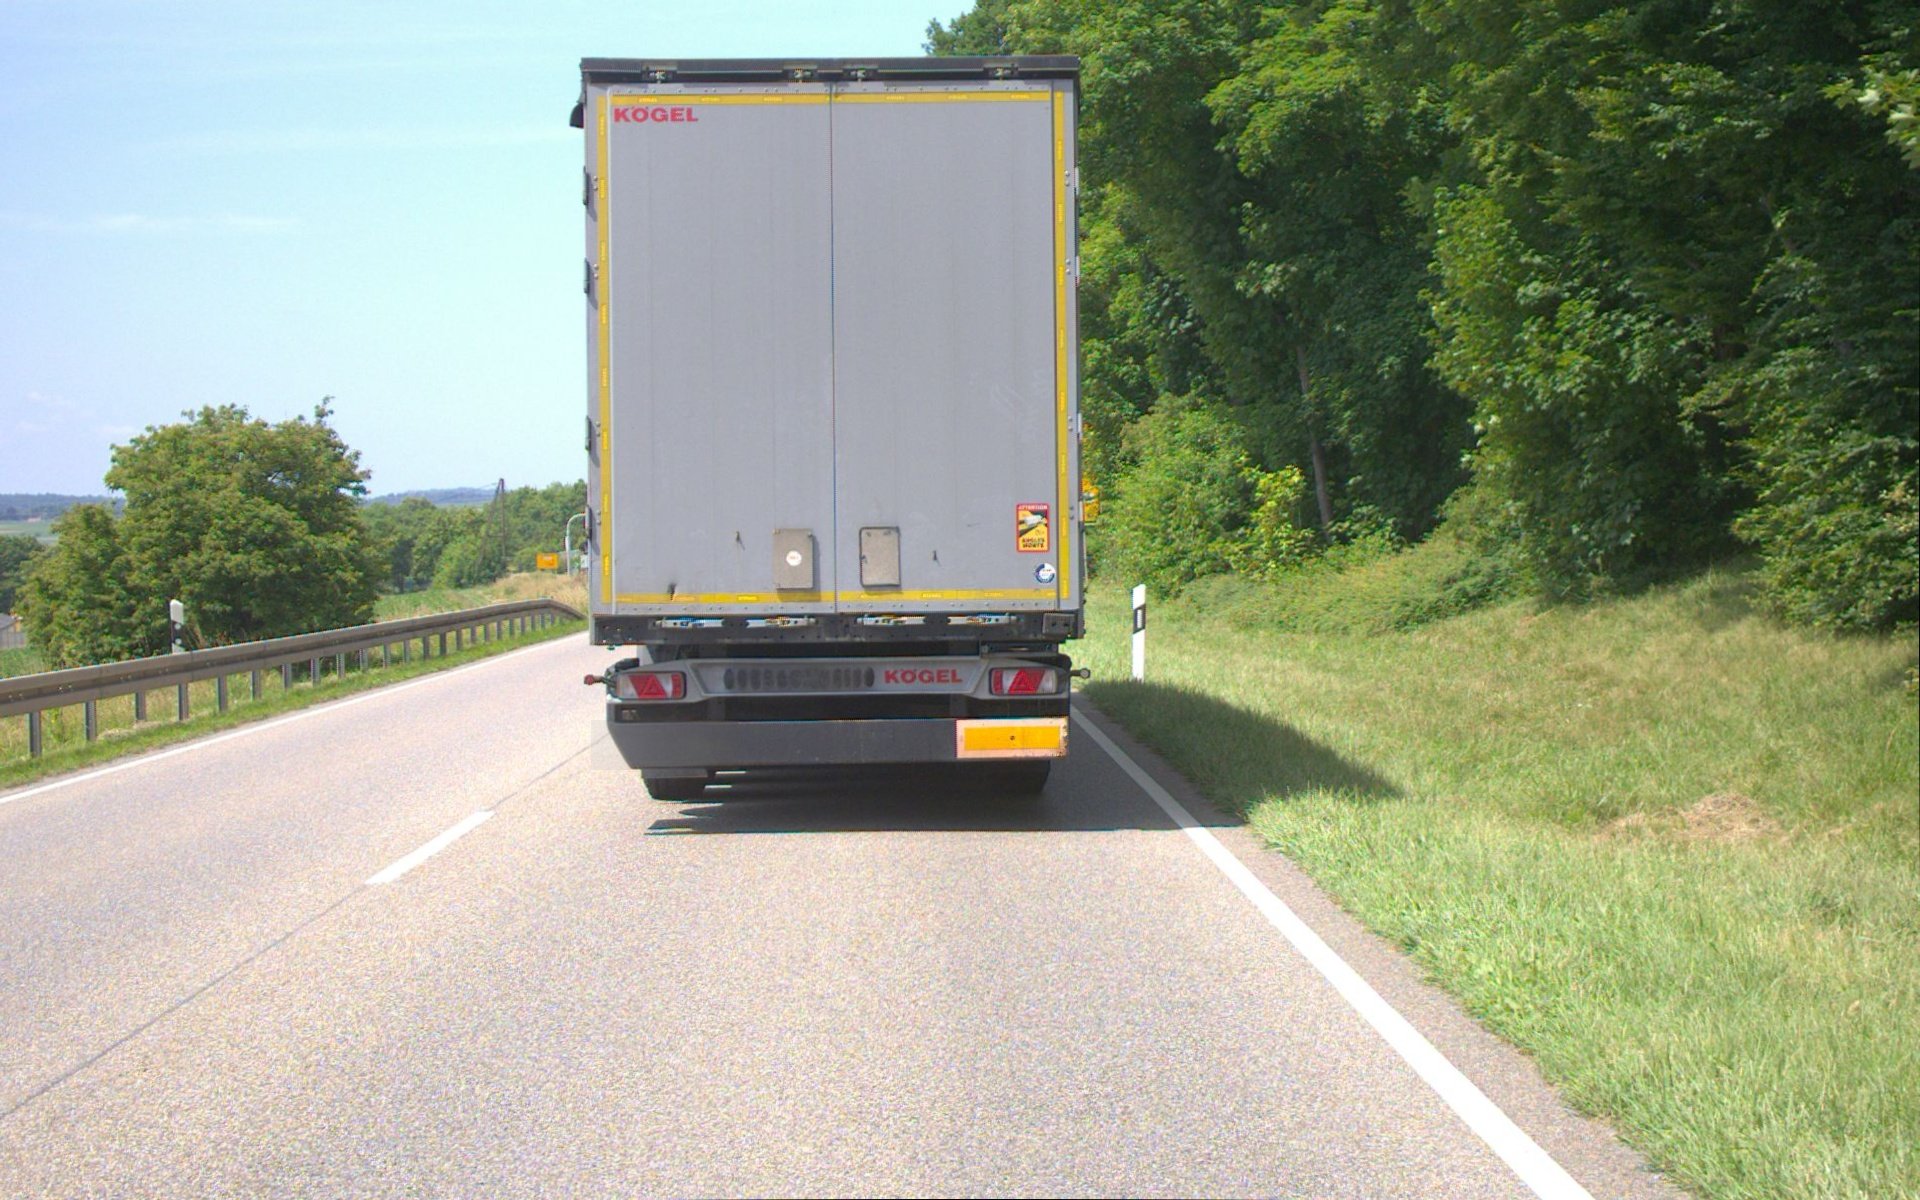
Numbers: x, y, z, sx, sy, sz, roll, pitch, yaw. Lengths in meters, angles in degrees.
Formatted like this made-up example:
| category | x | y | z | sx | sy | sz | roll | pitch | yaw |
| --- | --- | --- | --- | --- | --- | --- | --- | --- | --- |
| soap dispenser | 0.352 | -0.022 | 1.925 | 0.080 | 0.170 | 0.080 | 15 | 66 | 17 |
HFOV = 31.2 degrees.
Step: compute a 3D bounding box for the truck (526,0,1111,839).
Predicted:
| category | x | y | z | sx | sy | sz | roll | pitch | yaw |
| --- | --- | --- | --- | --- | --- | --- | --- | --- | --- |
| truck | -0.720 | -1.086 | 21.572 | 2.907 | 4.395 | 8.860 | 0 | 1 | 0 |
